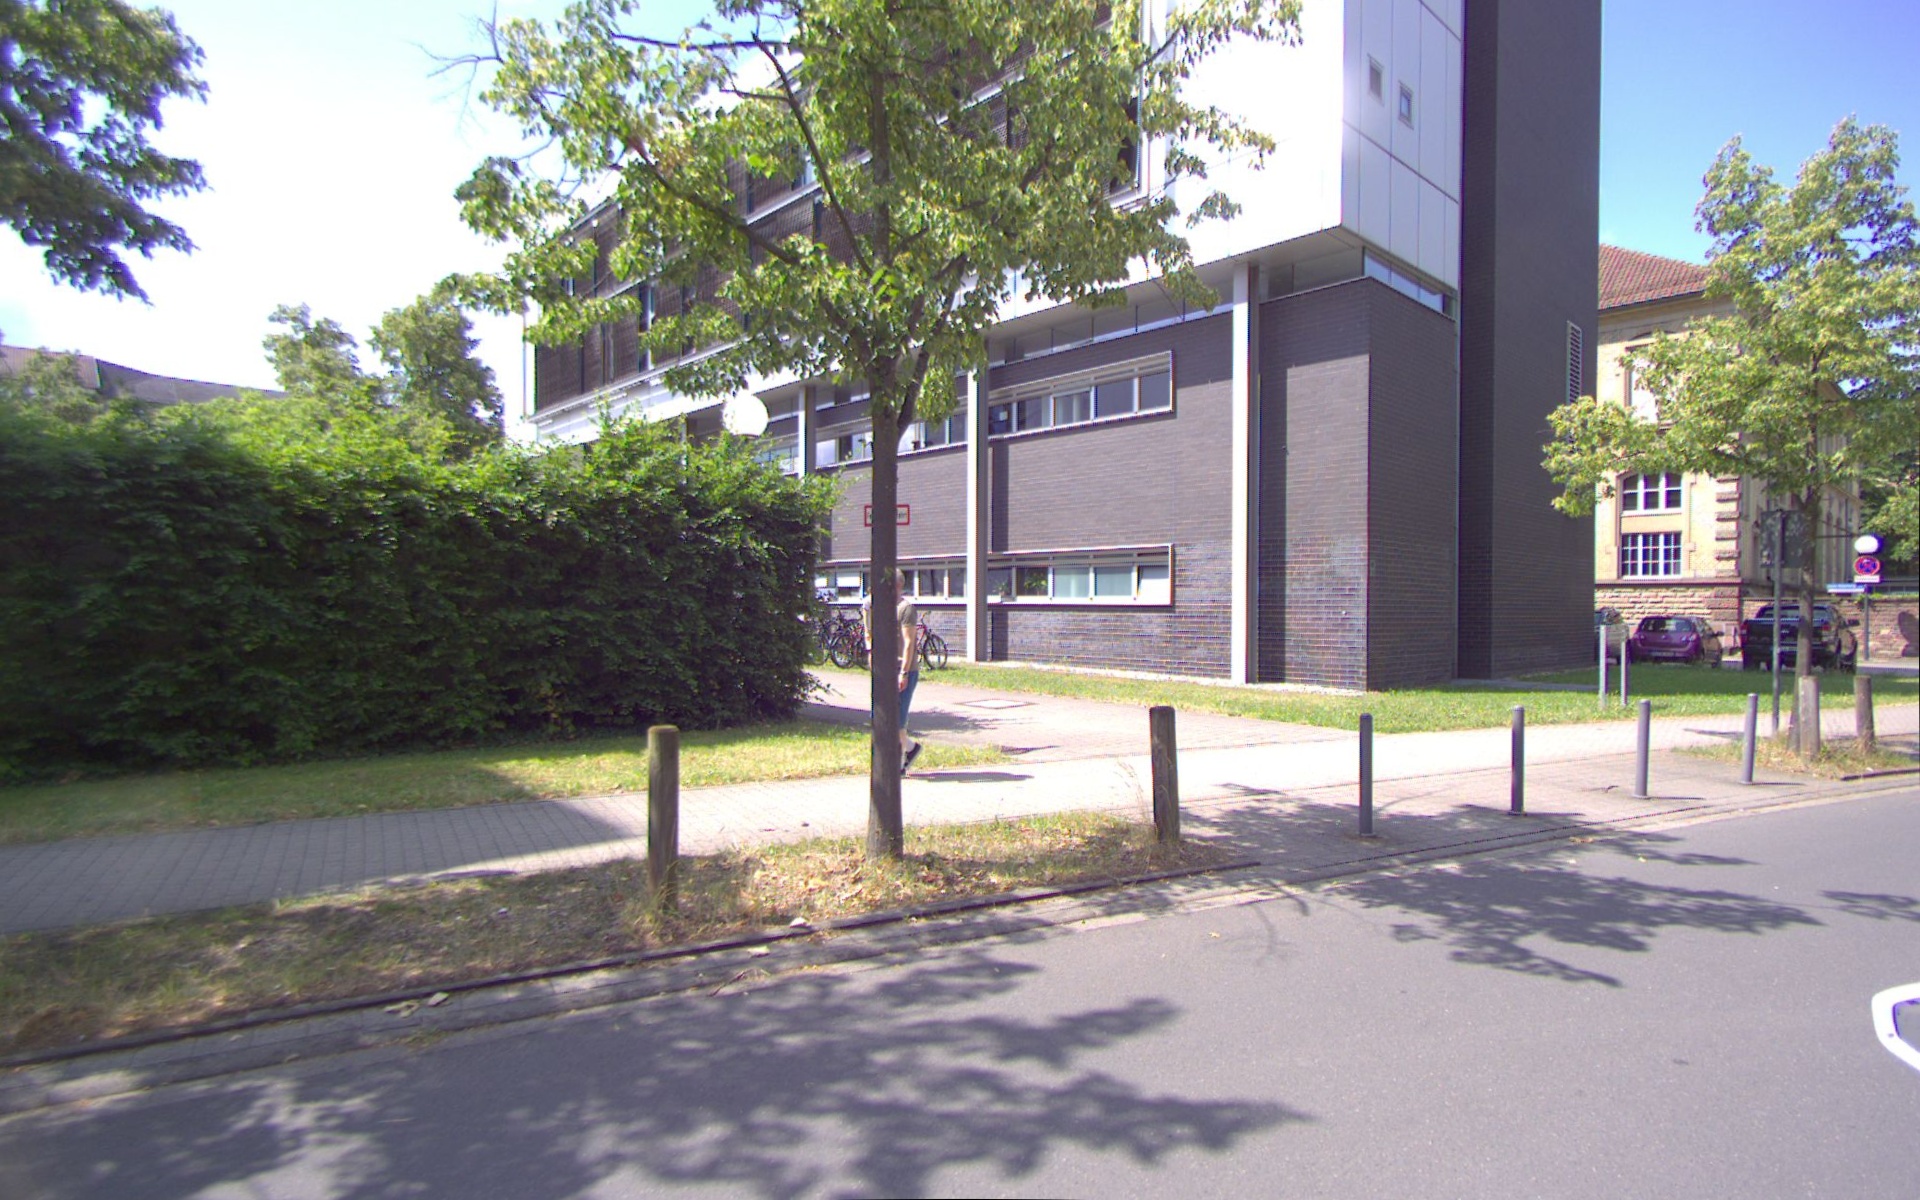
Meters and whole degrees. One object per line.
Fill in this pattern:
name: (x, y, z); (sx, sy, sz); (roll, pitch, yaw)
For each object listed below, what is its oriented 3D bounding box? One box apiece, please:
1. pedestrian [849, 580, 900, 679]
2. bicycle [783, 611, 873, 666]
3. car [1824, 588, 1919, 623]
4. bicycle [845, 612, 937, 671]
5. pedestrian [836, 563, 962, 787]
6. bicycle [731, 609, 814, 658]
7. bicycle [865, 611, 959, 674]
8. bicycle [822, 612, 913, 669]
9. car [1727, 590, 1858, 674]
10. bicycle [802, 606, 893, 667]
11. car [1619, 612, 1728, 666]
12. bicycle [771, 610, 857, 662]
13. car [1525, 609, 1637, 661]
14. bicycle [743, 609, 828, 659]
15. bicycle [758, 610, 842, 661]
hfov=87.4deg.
pedestrian: (-1.538, 0.516, 18.097); (0.683, 1.743, 0.610); (0, 0, -39)
bicycle: (-2.883, 0.823, 22.143); (0.574, 1.138, 2.037); (1, 0, 45)
car: (42.142, 0.232, 45.697); (4.029, 1.537, 1.753); (1, 0, 31)
bicycle: (-1.398, 0.826, 20.710); (0.574, 1.138, 2.037); (1, 0, 45)
pedestrian: (-0.518, 0.604, 8.512); (0.902, 1.788, 0.580); (0, 0, -34)
bicycle: (-4.523, 0.779, 24.356); (0.574, 1.138, 2.037); (1, 0, 45)
bicycle: (-0.938, 0.825, 20.156); (0.574, 1.177, 2.037); (1, 0, 45)
bicycle: (-1.941, 0.831, 21.296); (0.574, 1.138, 2.037); (1, 0, 45)
car: (21.474, 0.756, 25.825); (2.153, 1.951, 5.153); (1, 0, 45)
bicycle: (-2.413, 0.771, 21.727); (0.574, 1.259, 2.037); (1, 0, 45)
car: (19.673, 1.015, 27.644); (3.742, 1.341, 1.799); (1, 0, -44)
bicycle: (-3.326, 0.806, 22.971); (0.541, 1.138, 2.037); (1, 0, 45)
car: (18.166, 0.968, 29.324); (4.134, 1.342, 1.799); (0, 2, -44)
bicycle: (-4.122, 0.784, 23.863); (0.574, 1.138, 2.037); (1, 0, 45)
bicycle: (-3.702, 0.800, 23.423); (0.496, 1.138, 2.037); (1, 0, 45)
